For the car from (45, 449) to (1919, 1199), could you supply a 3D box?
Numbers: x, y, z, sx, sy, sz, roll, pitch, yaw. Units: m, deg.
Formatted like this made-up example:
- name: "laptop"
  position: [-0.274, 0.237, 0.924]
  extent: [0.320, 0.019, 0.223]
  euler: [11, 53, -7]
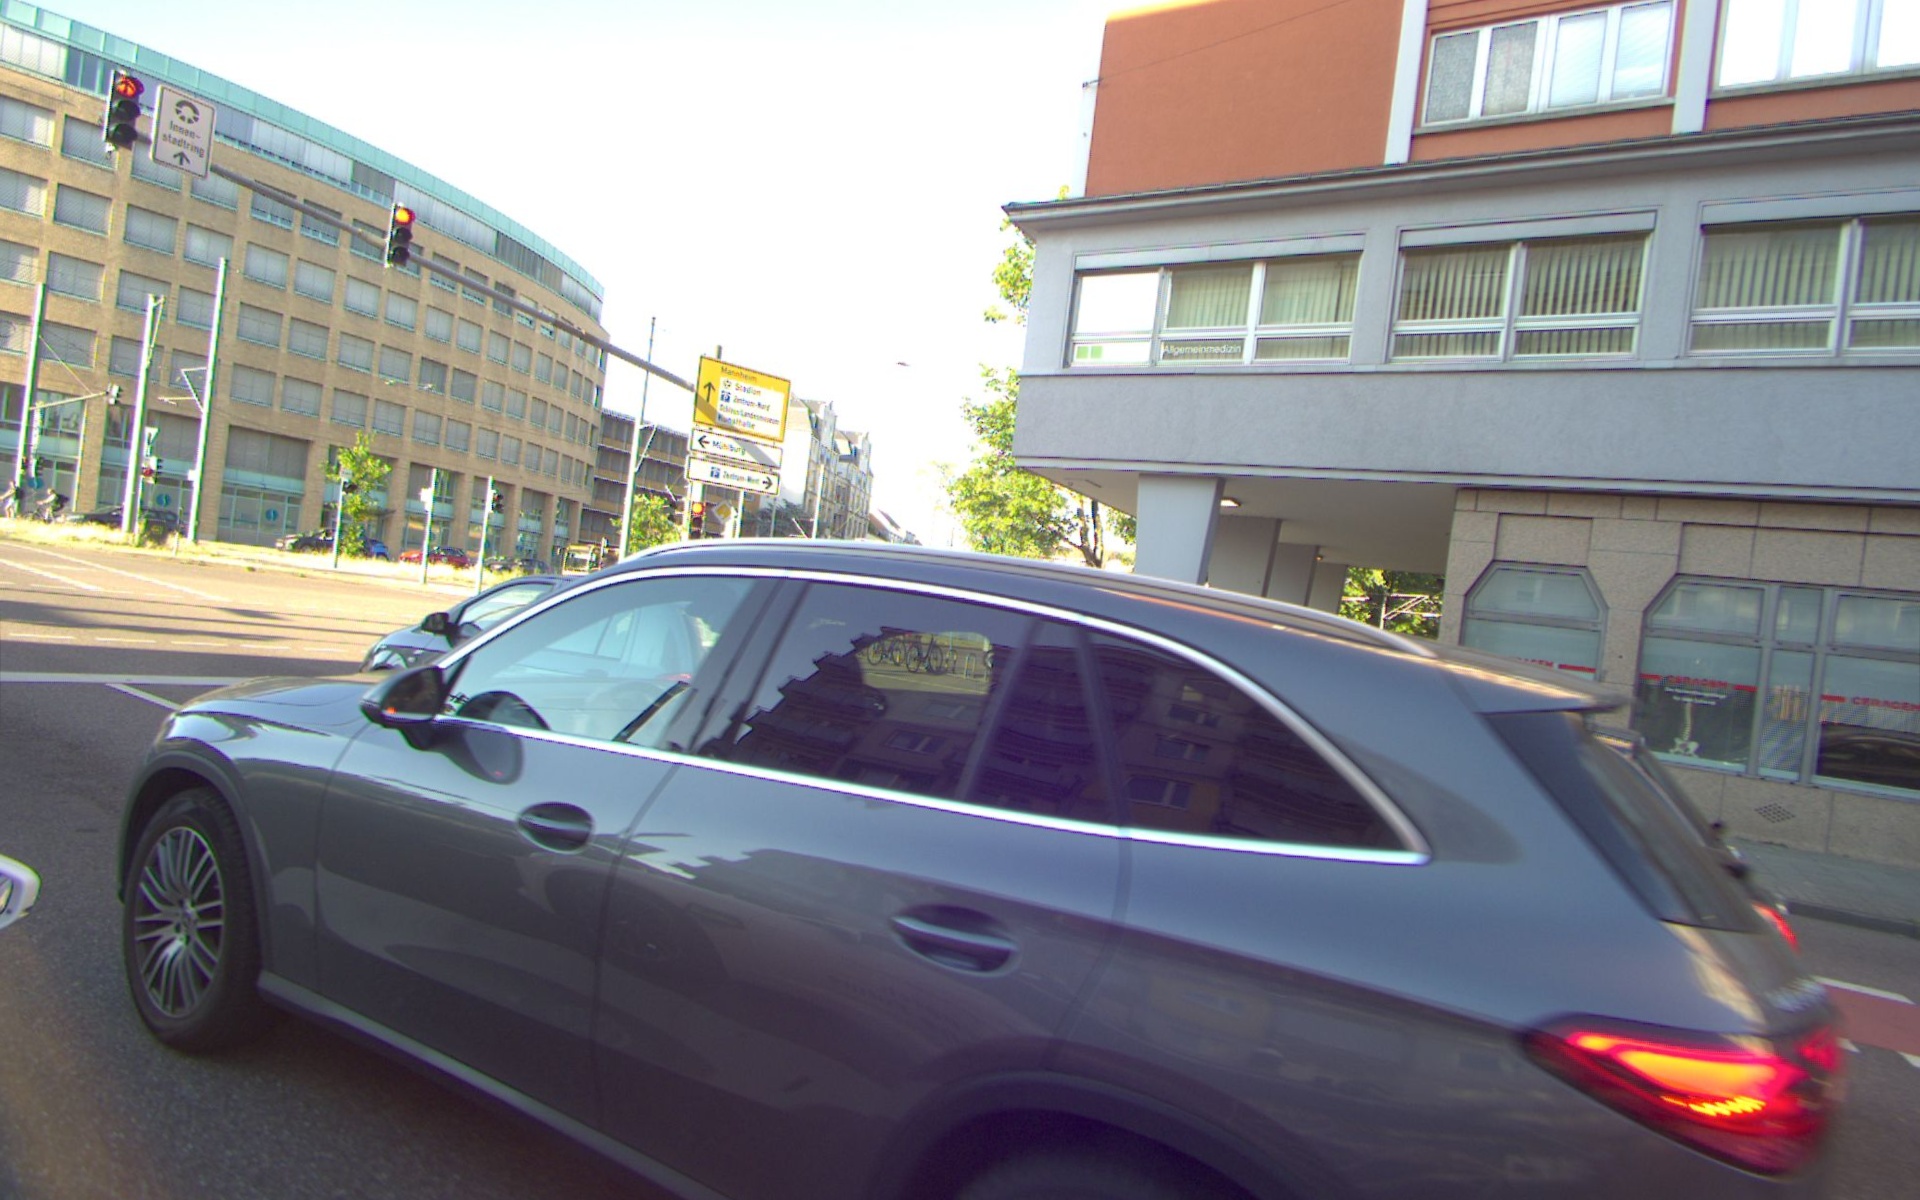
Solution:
- name: "car"
  position: [-0.458, 0.652, 2.842]
  extent: [4.402, 1.652, 1.787]
  euler: [7, 0, 30]

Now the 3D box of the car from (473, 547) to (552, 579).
- name: "car"
  position: [-27.267, -2.262, 61.407]
  extent: [1.965, 1.362, 3.995]
  euler: [7, -1, 28]

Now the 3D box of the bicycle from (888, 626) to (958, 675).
- name: "bicycle"
  position: [-0.927, 1.314, 25.976]
  extent: [0.730, 1.130, 2.089]
  euler: [7, 0, 29]

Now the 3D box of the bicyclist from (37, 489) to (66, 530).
- name: "bicyclist"
  position: [-41.710, -4.162, 46.200]
  extent: [0.468, 1.757, 0.790]
  euler: [8, 1, 37]

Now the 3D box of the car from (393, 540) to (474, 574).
- name: "car"
  position: [-29.633, -2.417, 56.677]
  extent: [1.693, 1.358, 3.614]
  euler: [7, -1, 31]

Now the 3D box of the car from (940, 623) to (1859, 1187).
- name: "car"
  position: [1.821, 1.108, 4.900]
  extent: [3.419, 1.524, 1.492]
  euler: [7, 0, 29]

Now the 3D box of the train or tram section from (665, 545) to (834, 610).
- name: "train or tram section"
  position: [-15.191, -1.449, 75.515]
  extent: [3.631, 3.215, 17.161]
  euler: [7, -1, 20]

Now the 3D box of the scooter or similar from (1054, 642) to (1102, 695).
- name: "scooter or similar"
  position: [3.020, 1.751, 25.661]
  extent: [1.130, 1.261, 0.424]
  euler: [6, 1, -39]

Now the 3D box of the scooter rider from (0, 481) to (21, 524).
- name: "scooter rider"
  position: [-43.125, -4.413, 45.567]
  extent: [0.468, 1.836, 0.680]
  euler: [8, 1, 37]

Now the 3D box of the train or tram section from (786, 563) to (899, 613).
- name: "train or tram section"
  position: [-10.314, -0.889, 93.082]
  extent: [3.629, 3.215, 19.972]
  euler: [7, -1, 13]

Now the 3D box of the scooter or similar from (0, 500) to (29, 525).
- name: "scooter or similar"
  position: [-43.197, -4.000, 45.536]
  extent: [0.468, 1.014, 1.400]
  euler: [7, 0, 37]

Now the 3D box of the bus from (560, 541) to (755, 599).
- name: "bus"
  position: [-22.377, -2.086, 76.935]
  extent: [2.380, 2.466, 18.214]
  euler: [7, -1, 26]

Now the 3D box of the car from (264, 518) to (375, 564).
- name: "car"
  position: [-32.510, -2.971, 51.157]
  extent: [1.967, 1.634, 4.234]
  euler: [7, -1, 32]

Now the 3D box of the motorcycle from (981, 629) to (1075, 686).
- name: "motorcycle"
  position: [1.895, 1.592, 28.045]
  extent: [2.361, 1.256, 0.855]
  euler: [7, 0, 28]

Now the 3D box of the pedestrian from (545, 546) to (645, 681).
- name: "pedestrian"
  position: [-5.157, 0.208, 14.236]
  extent: [0.659, 1.790, 0.945]
  euler: [7, 1, 35]

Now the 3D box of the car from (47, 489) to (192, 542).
- name: "car"
  position: [-38.574, -3.858, 46.310]
  extent: [1.965, 1.617, 4.657]
  euler: [7, -1, 28]

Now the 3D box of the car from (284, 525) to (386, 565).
- name: "car"
  position: [-34.145, -3.004, 55.067]
  extent: [1.965, 1.520, 4.238]
  euler: [7, -1, 27]

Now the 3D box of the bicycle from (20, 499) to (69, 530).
- name: "bicycle"
  position: [-41.883, -3.895, 46.044]
  extent: [0.468, 1.187, 1.519]
  euler: [7, 0, 37]

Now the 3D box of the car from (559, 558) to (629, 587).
- name: "car"
  position: [-24.300, -1.801, 66.912]
  extent: [1.965, 1.362, 3.995]
  euler: [7, -1, 28]

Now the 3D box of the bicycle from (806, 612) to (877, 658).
- name: "bicycle"
  position: [-3.212, 0.972, 27.435]
  extent: [0.730, 1.130, 2.089]
  euler: [7, 0, 29]

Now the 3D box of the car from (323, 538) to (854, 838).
- name: "car"
  position: [-2.769, 0.525, 7.340]
  extent: [3.586, 1.463, 1.588]
  euler: [7, -2, 30]

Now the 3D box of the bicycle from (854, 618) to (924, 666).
- name: "bicycle"
  position: [-1.863, 1.139, 26.738]
  extent: [0.730, 1.130, 2.089]
  euler: [7, 0, 29]
